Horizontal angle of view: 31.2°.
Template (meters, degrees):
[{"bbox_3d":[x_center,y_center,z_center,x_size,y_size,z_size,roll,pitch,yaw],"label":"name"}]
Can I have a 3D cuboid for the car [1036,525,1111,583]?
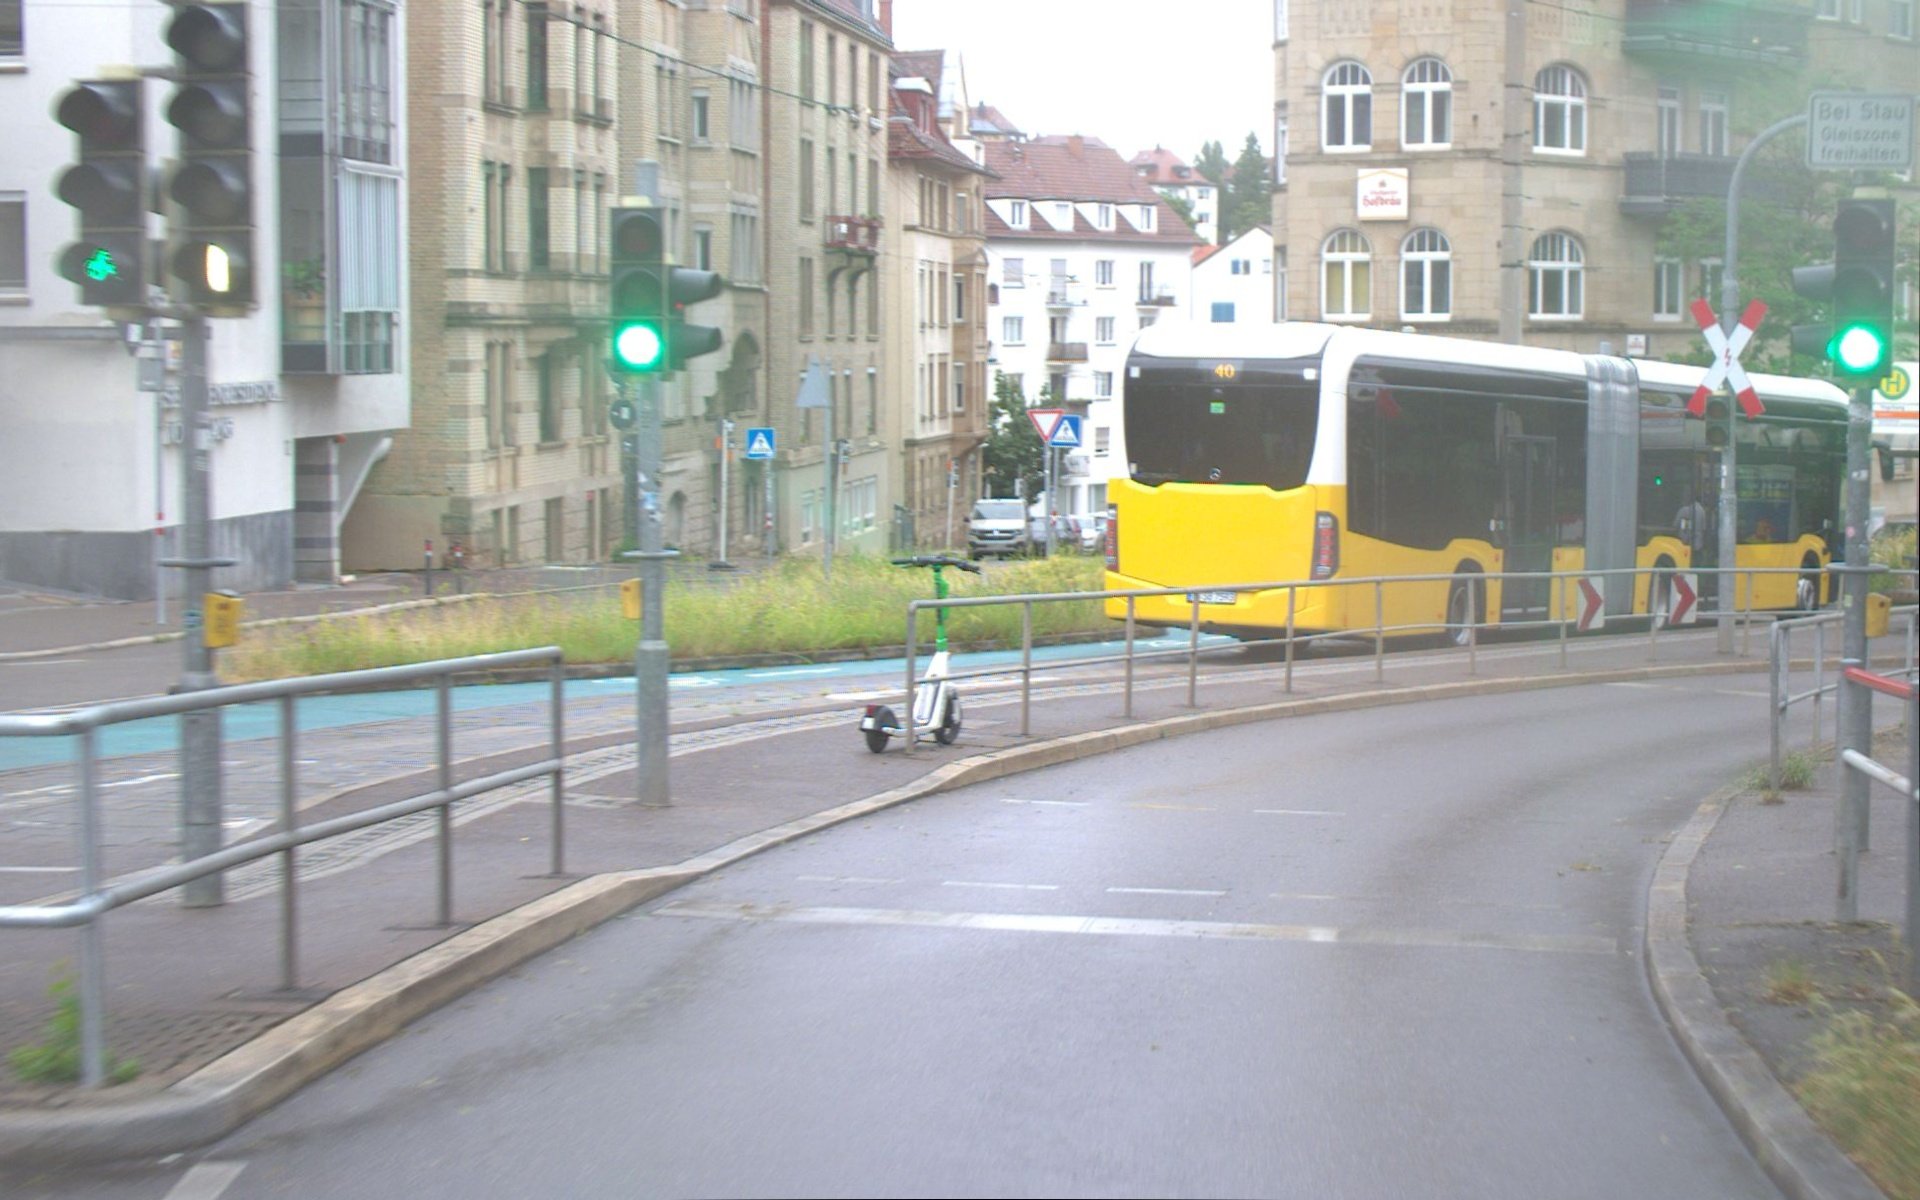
[{"bbox_3d":[4.382,-1.753,132.295,2.138,2.129,4.855,1,0,11],"label":"car"}]

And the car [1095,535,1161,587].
[{"bbox_3d":[7.196,-1.645,146.611,2.138,2.129,4.855,1,0,11],"label":"car"}]

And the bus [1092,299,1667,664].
[{"bbox_3d":[4.804,-1.148,37.205,2.595,3.457,9.091,1,1,31],"label":"bus"}]

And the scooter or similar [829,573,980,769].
[{"bbox_3d":[-0.318,0.401,20.615,0.433,1.109,1.604,2,1,16],"label":"scooter or similar"}]

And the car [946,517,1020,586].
[{"bbox_3d":[0.705,-1.527,109.911,2.137,2.129,4.857,1,0,-2],"label":"car"}]
